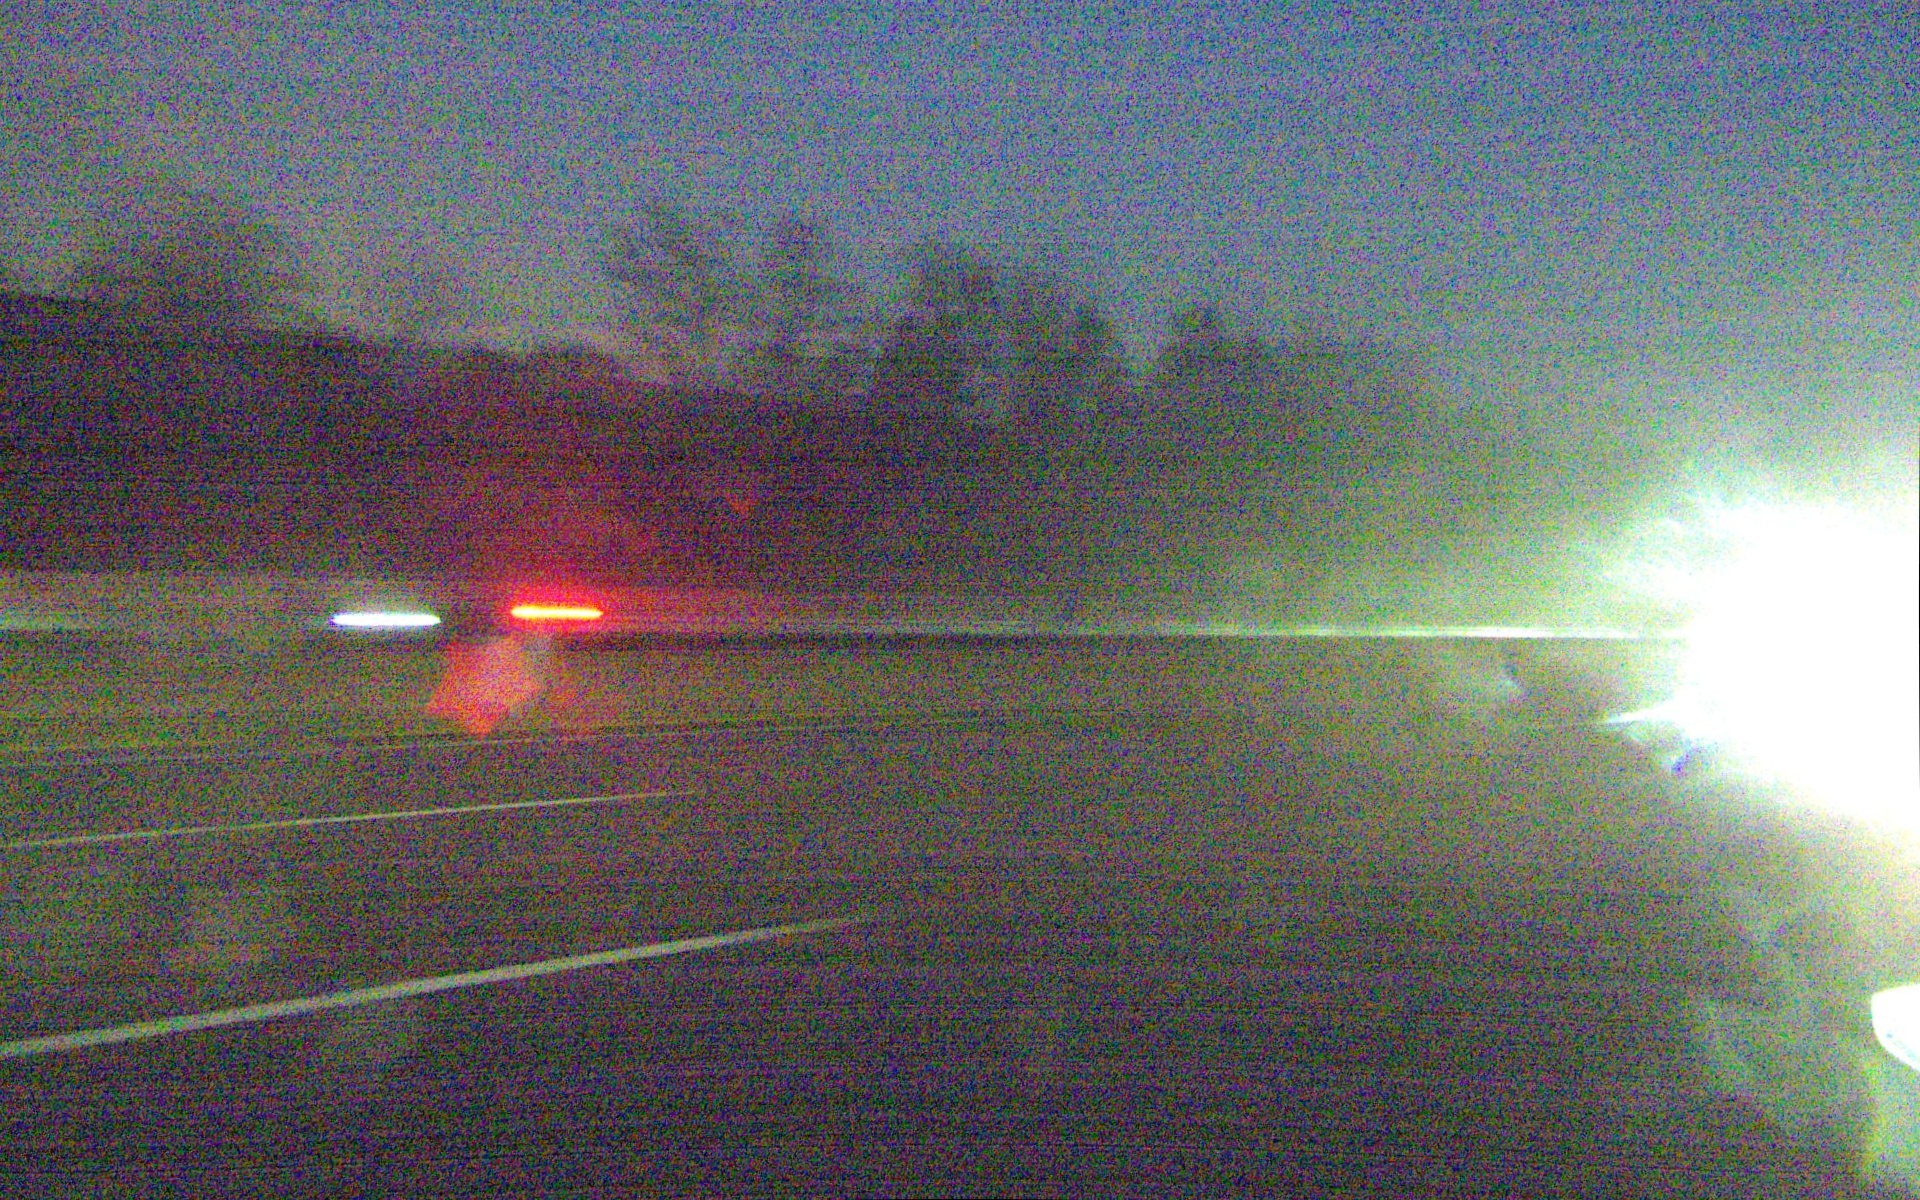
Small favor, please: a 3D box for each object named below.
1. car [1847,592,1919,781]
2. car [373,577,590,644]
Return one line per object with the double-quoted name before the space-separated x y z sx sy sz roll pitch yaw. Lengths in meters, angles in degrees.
"car" 11.610 0.854 10.556 5.064 1.816 1.943 0 0 -30
"car" -12.891 0.301 27.206 5.098 1.617 1.765 2 2 -34
